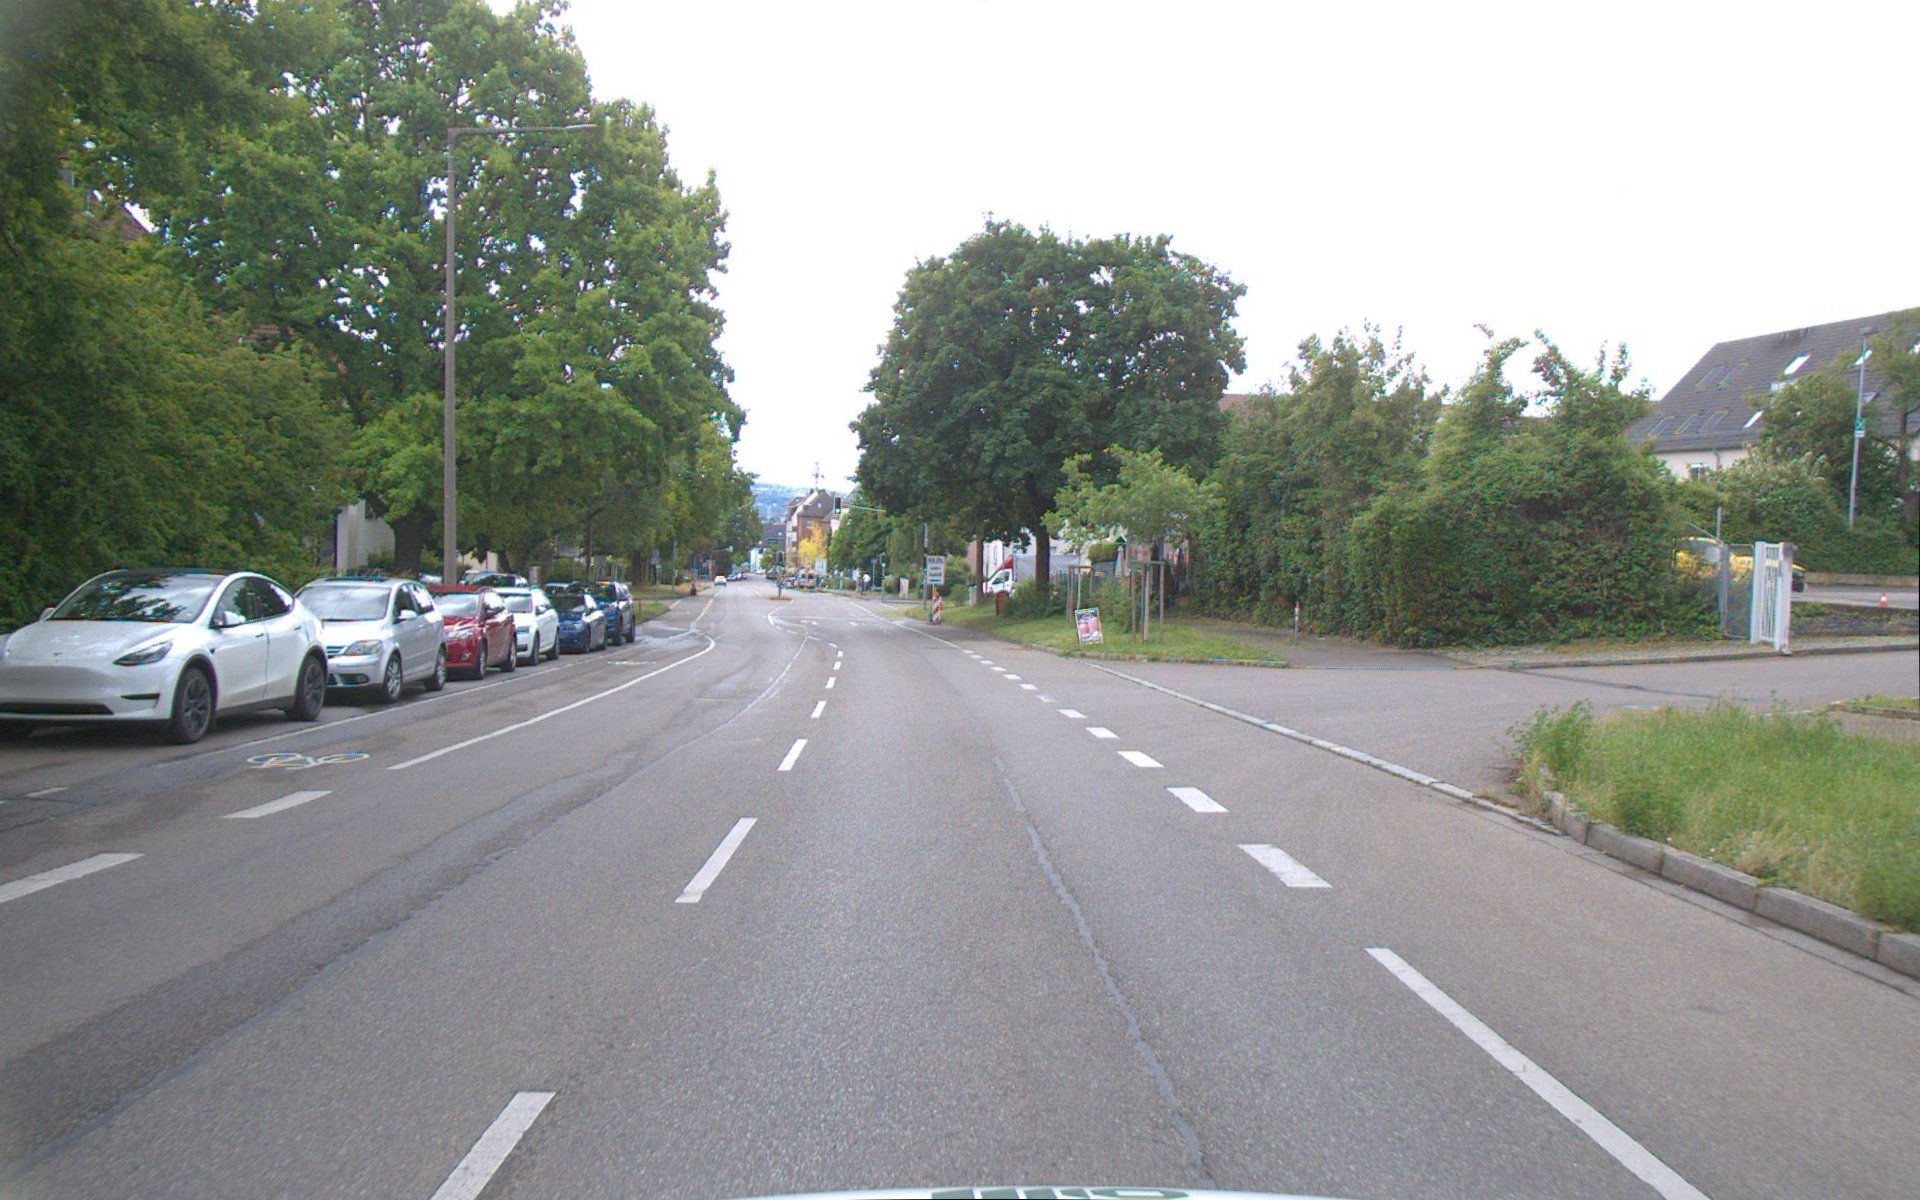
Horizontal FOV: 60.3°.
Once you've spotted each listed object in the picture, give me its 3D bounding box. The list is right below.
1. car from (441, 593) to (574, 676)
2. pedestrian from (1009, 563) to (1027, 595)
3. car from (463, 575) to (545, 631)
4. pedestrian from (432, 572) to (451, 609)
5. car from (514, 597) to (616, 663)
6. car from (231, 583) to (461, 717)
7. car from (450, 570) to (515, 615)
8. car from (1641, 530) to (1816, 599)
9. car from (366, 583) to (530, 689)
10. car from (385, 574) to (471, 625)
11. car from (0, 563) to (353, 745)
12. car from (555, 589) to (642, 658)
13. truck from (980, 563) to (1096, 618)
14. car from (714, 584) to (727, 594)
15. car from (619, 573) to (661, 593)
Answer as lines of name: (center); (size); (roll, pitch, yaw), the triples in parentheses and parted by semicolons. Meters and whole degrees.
car: (-8.925, 0.635, 32.983); (1.682, 1.485, 4.752); (1, 0, -5)
pedestrian: (3.451, -1.258, 98.609); (0.737, 1.887, 0.949); (-2, 1, -22)
car: (-14.954, 0.066, 54.393); (1.727, 1.661, 3.997); (4, 0, -4)
pedestrian: (-23.406, -0.444, 74.673); (0.618, 1.641, 0.828); (2, 0, -9)
car: (-9.214, 0.666, 38.848); (1.682, 1.413, 4.334); (1, 0, -5)
car: (-8.126, 0.609, 22.302); (1.832, 1.600, 4.116); (1, 0, -5)
car: (-18.938, -0.317, 65.716); (1.728, 1.661, 4.282); (2, 0, -7)
car: (20.164, -0.925, 43.442); (3.916, 1.680, 1.995); (2, 0, 33)
car: (-8.463, 0.558, 27.693); (1.682, 1.600, 4.366); (1, 0, -5)
car: (-17.480, -0.031, 54.515); (1.728, 1.496, 4.435); (4, 0, -6)
car: (-7.944, 0.478, 16.955); (1.731, 1.600, 4.759); (0, 0, -1)
car: (-9.679, 0.589, 44.555); (1.682, 1.641, 4.531); (1, 1, -5)
truck: (5.018, -0.622, 107.021); (7.095, 3.364, 2.534); (1, 1, -10)
car: (-36.137, -1.649, 249.348); (1.956, 1.532, 3.993); (2, 0, -8)
car: (-27.327, -1.441, 141.196); (3.385, 1.624, 1.996); (2, 0, -9)
